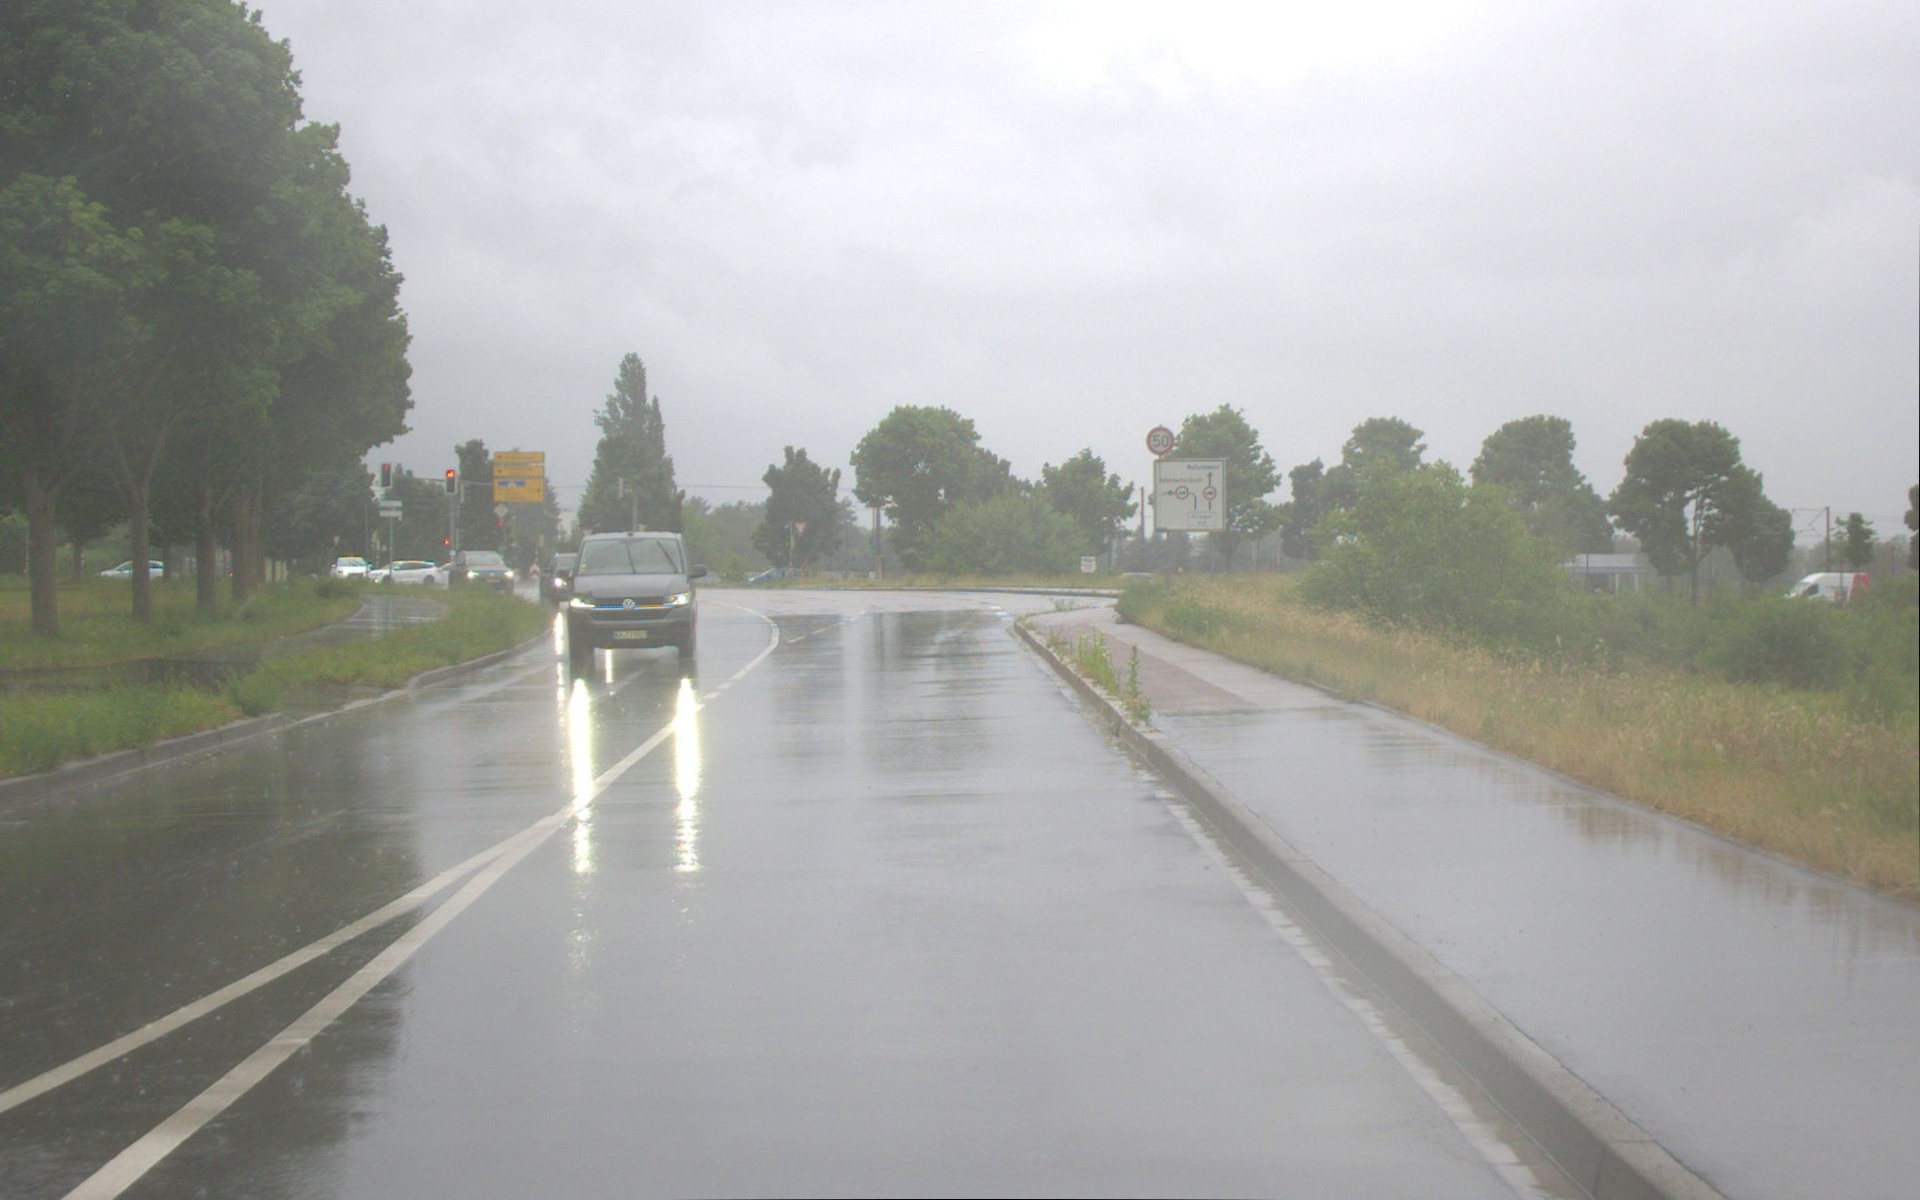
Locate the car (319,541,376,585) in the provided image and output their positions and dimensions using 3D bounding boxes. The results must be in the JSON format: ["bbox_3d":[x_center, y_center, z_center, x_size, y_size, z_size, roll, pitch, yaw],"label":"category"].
[{"bbox_3d":[-29.863,-1.796,167.491,1.993,2.007,4.001,2,1,-20],"label":"car"}]

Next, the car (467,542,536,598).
[{"bbox_3d":[-17.125,-1.124,128.223,1.993,2.007,4.001,1,1,-15],"label":"car"}]

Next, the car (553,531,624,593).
[{"bbox_3d":[-11.171,-1.162,103.270,1.904,1.715,4.001,-3,1,-8],"label":"car"}]

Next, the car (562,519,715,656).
[{"bbox_3d":[-4.912,-0.228,53.192,1.993,1.965,4.957,-2,1,-2],"label":"car"}]
